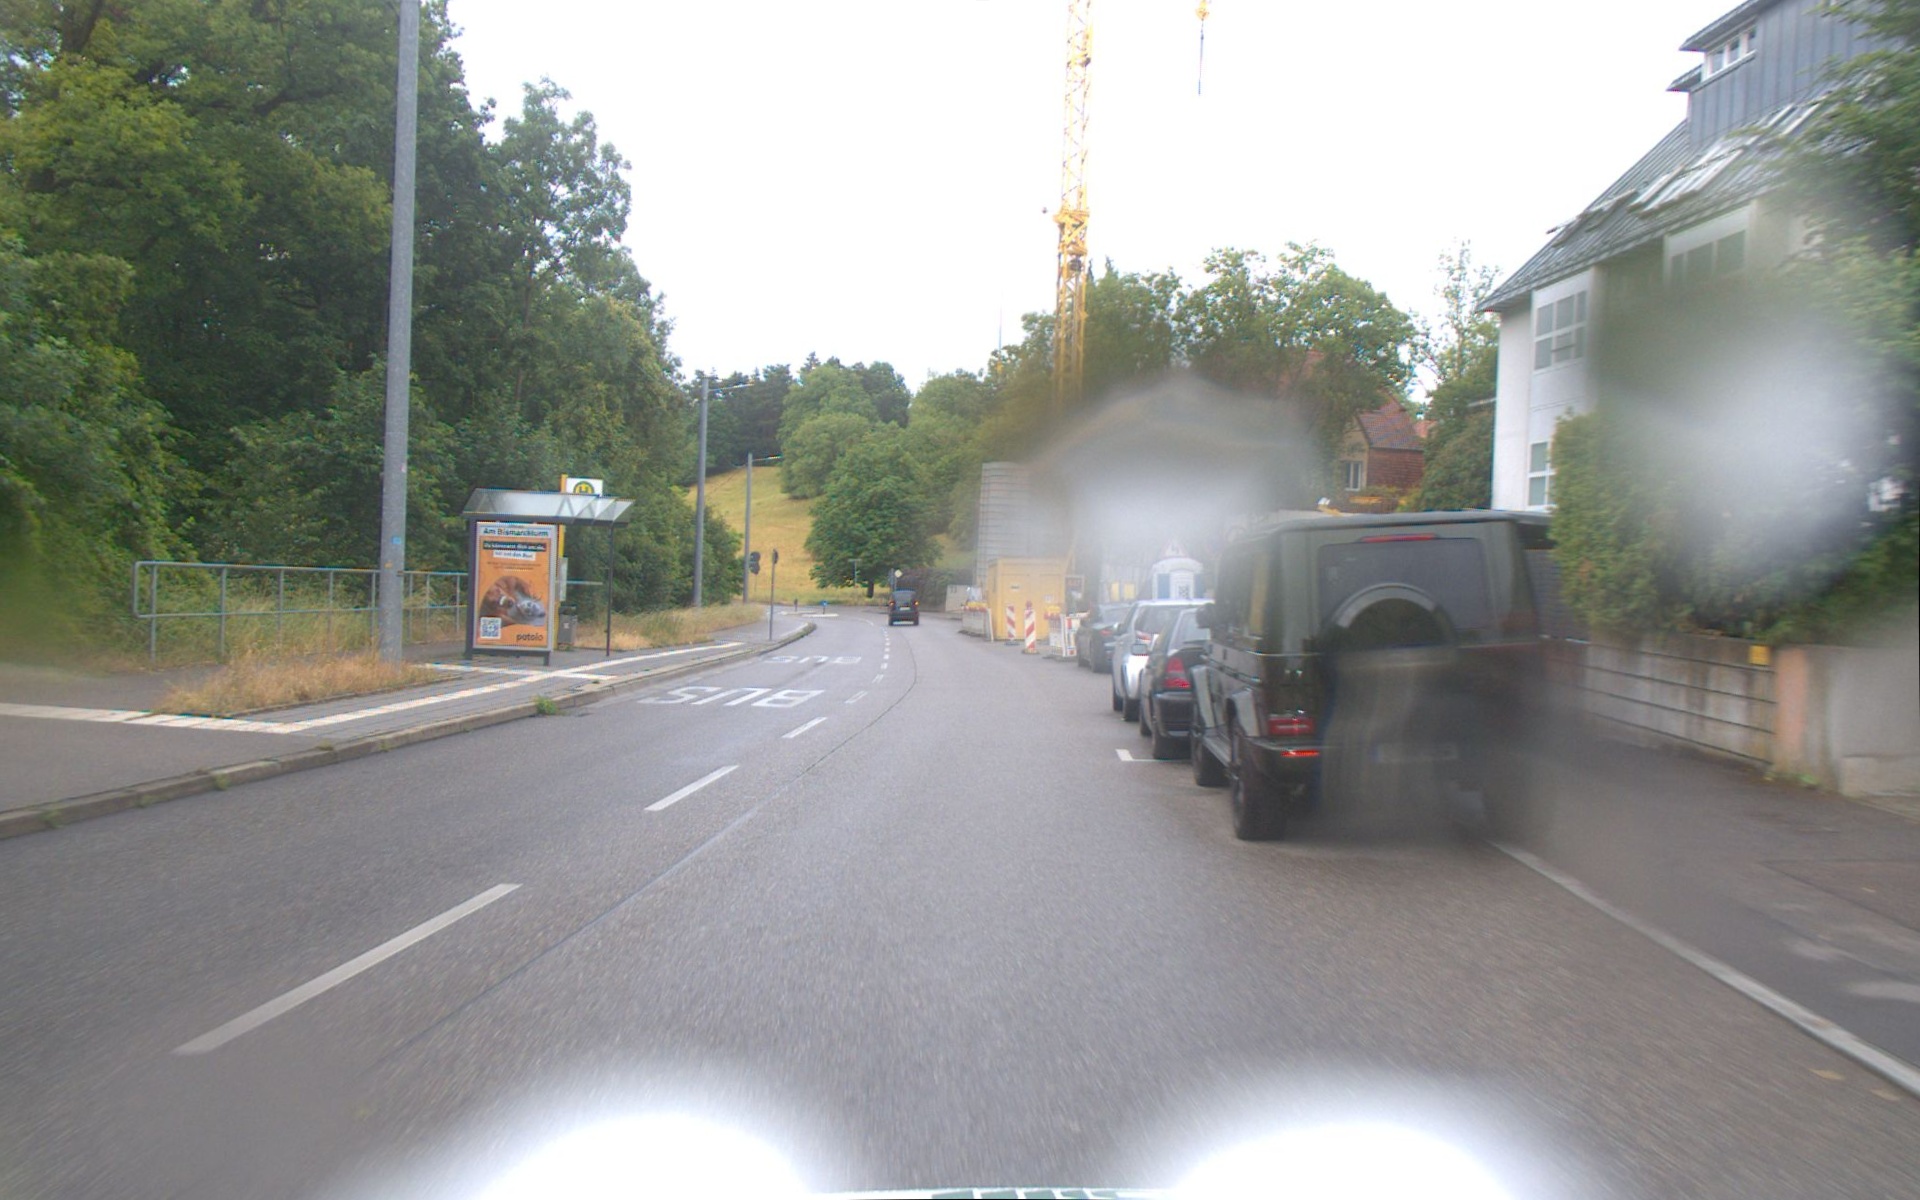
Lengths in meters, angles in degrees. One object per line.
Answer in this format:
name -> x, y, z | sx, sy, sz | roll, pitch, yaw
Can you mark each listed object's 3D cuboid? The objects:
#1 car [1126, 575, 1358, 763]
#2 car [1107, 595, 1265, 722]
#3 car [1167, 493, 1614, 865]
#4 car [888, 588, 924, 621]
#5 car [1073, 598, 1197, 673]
car -> 2.705, 0.623, 16.809 | 1.891, 1.624, 4.397 | -1, 0, 4
car -> 2.783, 0.680, 20.996 | 1.638, 1.483, 3.386 | 0, 0, 2
car -> 2.716, 0.440, 11.731 | 1.952, 2.049, 4.957 | -1, 0, 1
car -> -3.012, 0.277, 91.194 | 1.893, 1.782, 3.997 | 0, 0, -3
car -> 3.653, 0.706, 35.367 | 1.893, 1.447, 4.834 | 1, 0, -3
